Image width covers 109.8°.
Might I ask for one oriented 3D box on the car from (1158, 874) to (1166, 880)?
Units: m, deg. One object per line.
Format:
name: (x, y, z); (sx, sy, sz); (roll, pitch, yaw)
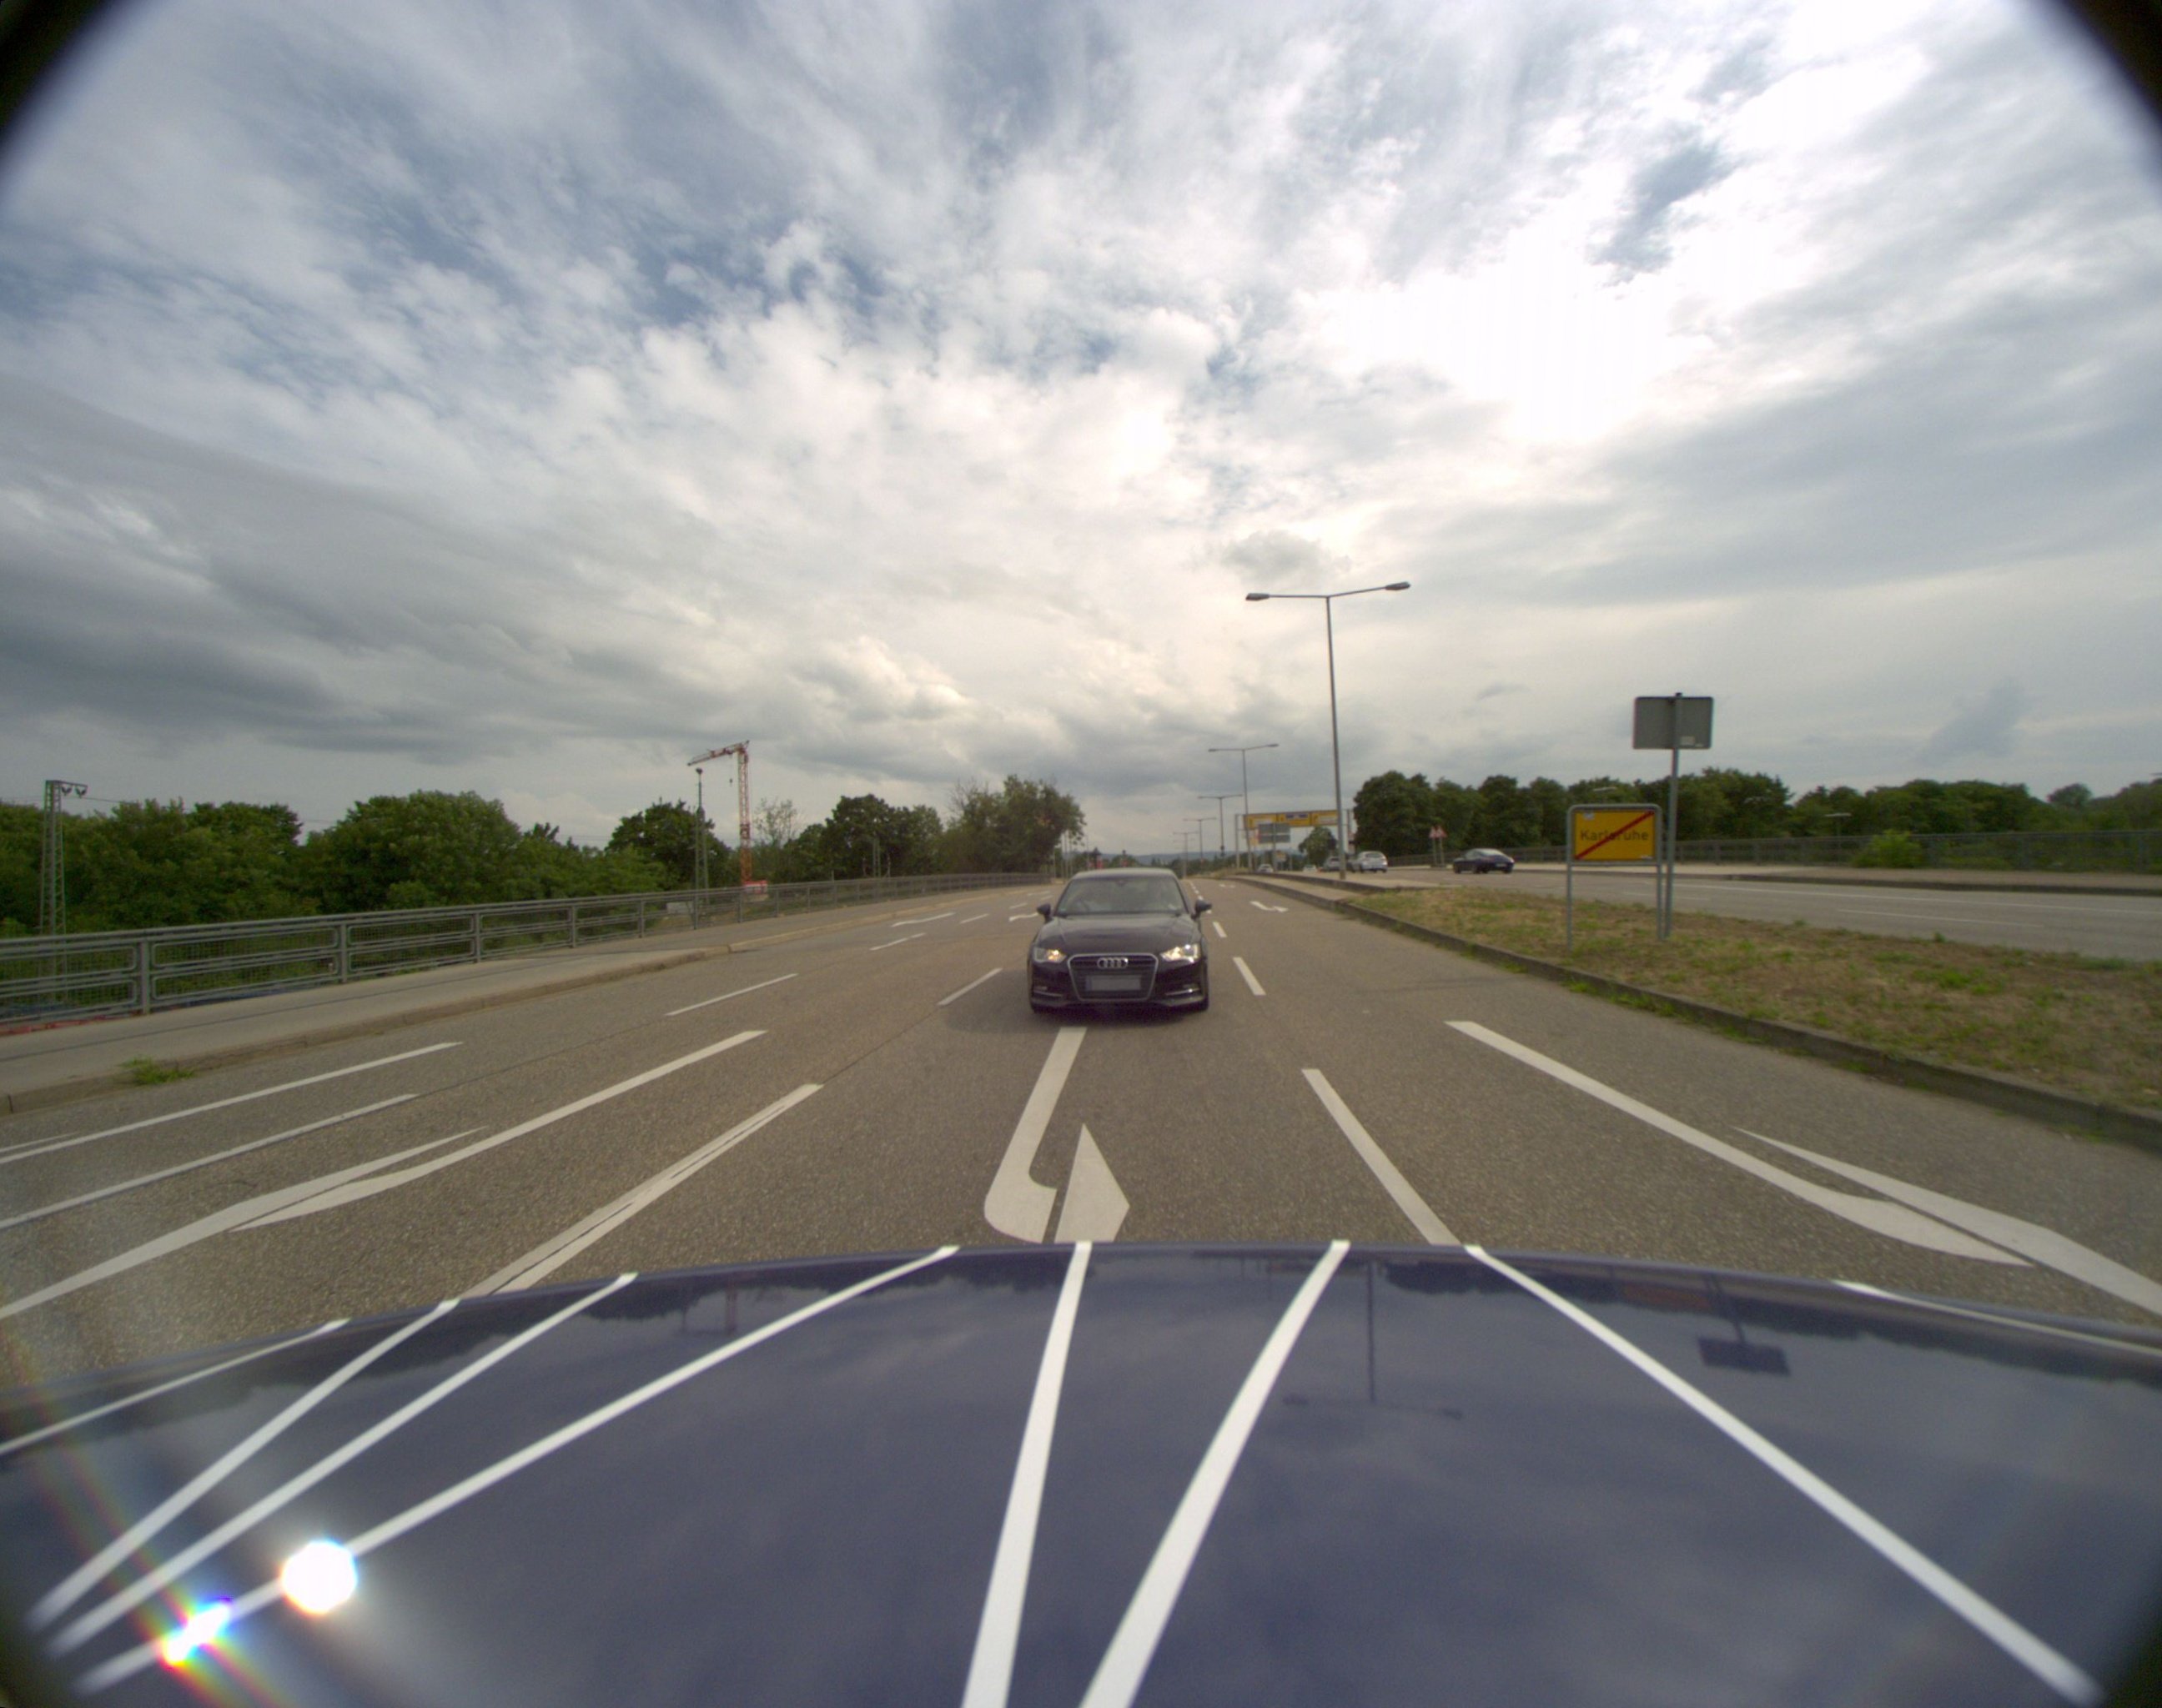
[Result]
car: (19.723, 5.624, 185.424); (1.860, 1.335, 4.002); (-2, 0, 7)

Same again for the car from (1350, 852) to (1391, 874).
car: (19.450, 0.561, 51.190); (1.619, 1.402, 3.862); (-1, 0, 6)

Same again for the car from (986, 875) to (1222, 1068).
car: (0.443, 1.022, 8.436); (1.851, 1.355, 4.731); (-2, 0, 7)

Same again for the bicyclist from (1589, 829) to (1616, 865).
bicyclist: (25.228, -0.338, 36.753); (0.685, 1.662, 0.848); (-3, 0, 6)

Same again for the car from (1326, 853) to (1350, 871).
car: (25.678, 0.782, 76.058); (1.745, 1.649, 4.082); (-1, 0, 11)

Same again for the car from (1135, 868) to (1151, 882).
car: (7.791, 2.564, 95.146); (1.724, 1.512, 3.952); (-4, 0, 9)

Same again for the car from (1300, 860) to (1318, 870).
car: (31.670, 1.535, 105.553); (1.922, 1.407, 4.886); (-1, -1, 12)

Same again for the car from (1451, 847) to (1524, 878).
car: (21.235, 0.418, 39.885); (1.825, 1.438, 4.354); (-2, 0, 5)

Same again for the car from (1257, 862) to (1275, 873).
car: (25.353, 1.832, 104.301); (1.812, 1.407, 4.031); (-2, 0, 5)

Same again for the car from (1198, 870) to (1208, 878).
car: (26.509, 4.382, 165.159); (1.891, 1.630, 4.588); (-2, -1, 8)

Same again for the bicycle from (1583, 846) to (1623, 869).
bicycle: (25.243, 0.169, 36.804); (0.685, 1.047, 1.995); (-3, 0, 6)

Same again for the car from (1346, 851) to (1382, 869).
car: (22.886, 0.490, 61.590); (1.745, 1.402, 3.878); (-1, 0, 5)
